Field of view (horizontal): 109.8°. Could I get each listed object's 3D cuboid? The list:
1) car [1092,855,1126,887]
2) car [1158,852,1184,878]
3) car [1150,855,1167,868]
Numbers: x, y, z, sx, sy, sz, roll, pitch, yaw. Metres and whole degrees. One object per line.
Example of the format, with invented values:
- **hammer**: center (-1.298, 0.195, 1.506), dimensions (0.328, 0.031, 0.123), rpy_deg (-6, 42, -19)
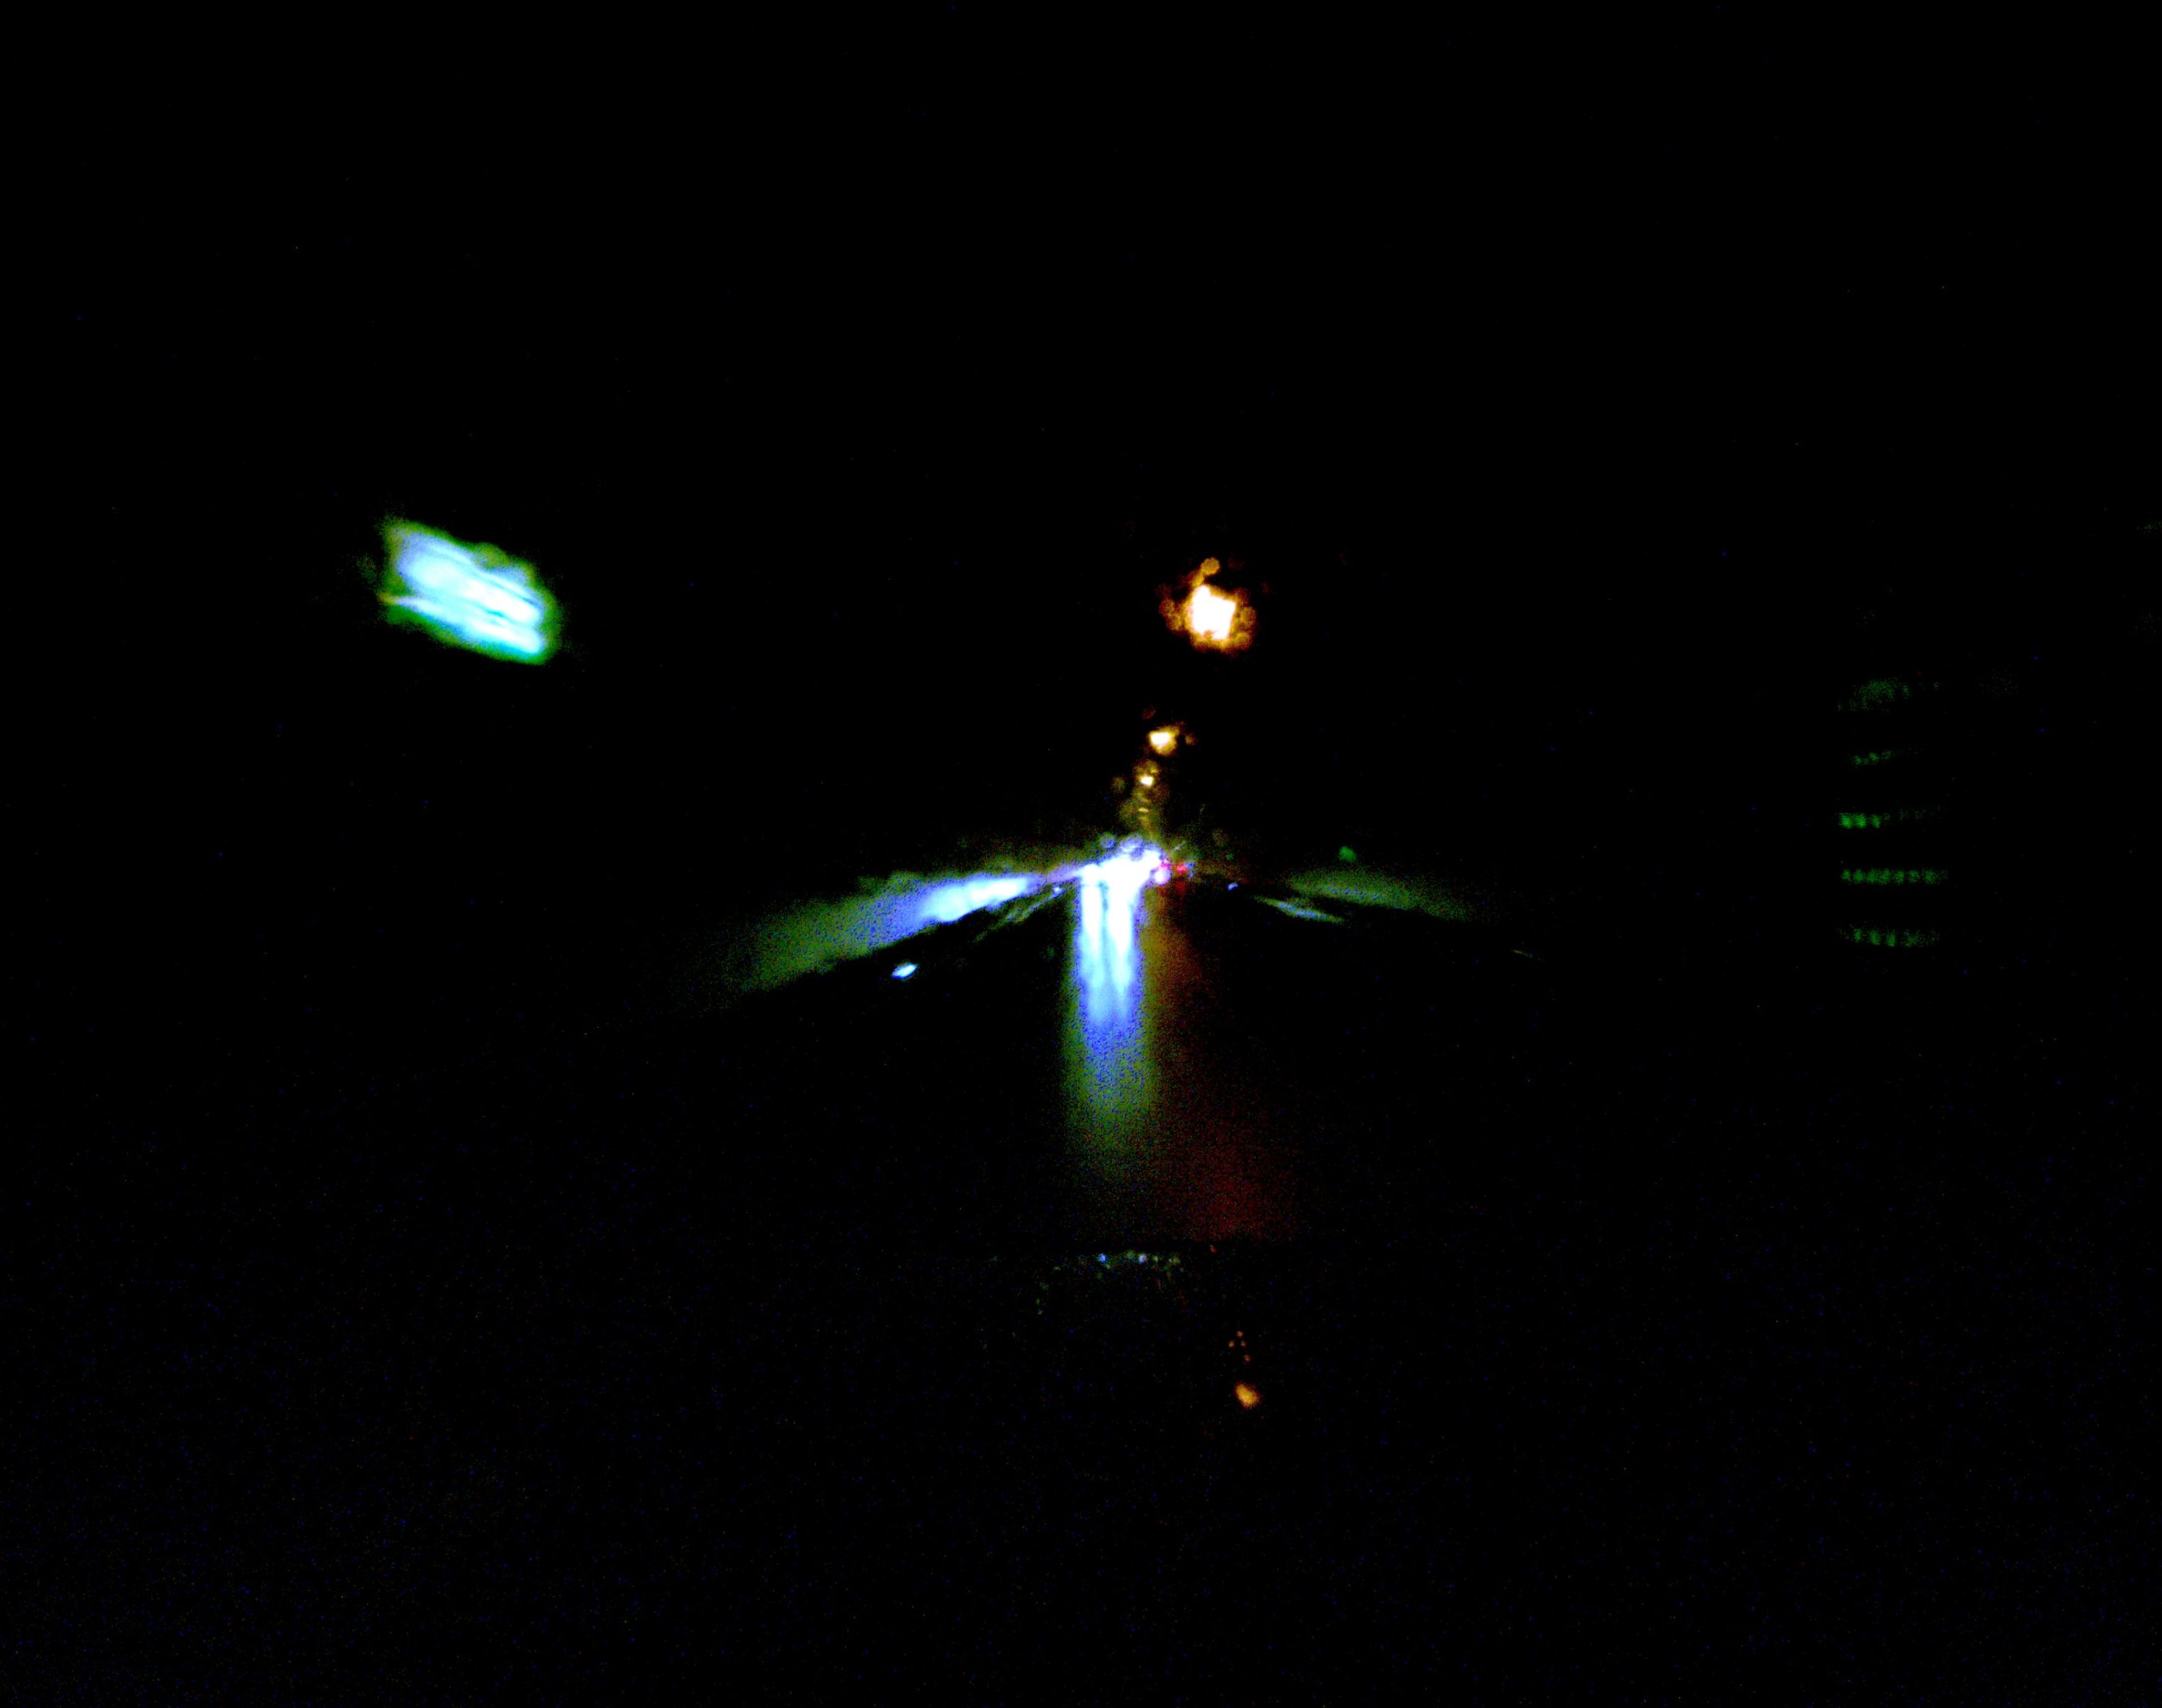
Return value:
- **car**: center (1.566, 0.922, 42.259), dimensions (1.730, 1.595, 4.000), rpy_deg (-3, 0, 3)
- **car**: center (5.980, 0.695, 50.826), dimensions (1.634, 1.640, 3.776), rpy_deg (-1, 0, 5)
- **car**: center (9.528, 0.892, 93.846), dimensions (1.660, 1.484, 3.838), rpy_deg (-3, 0, 0)
